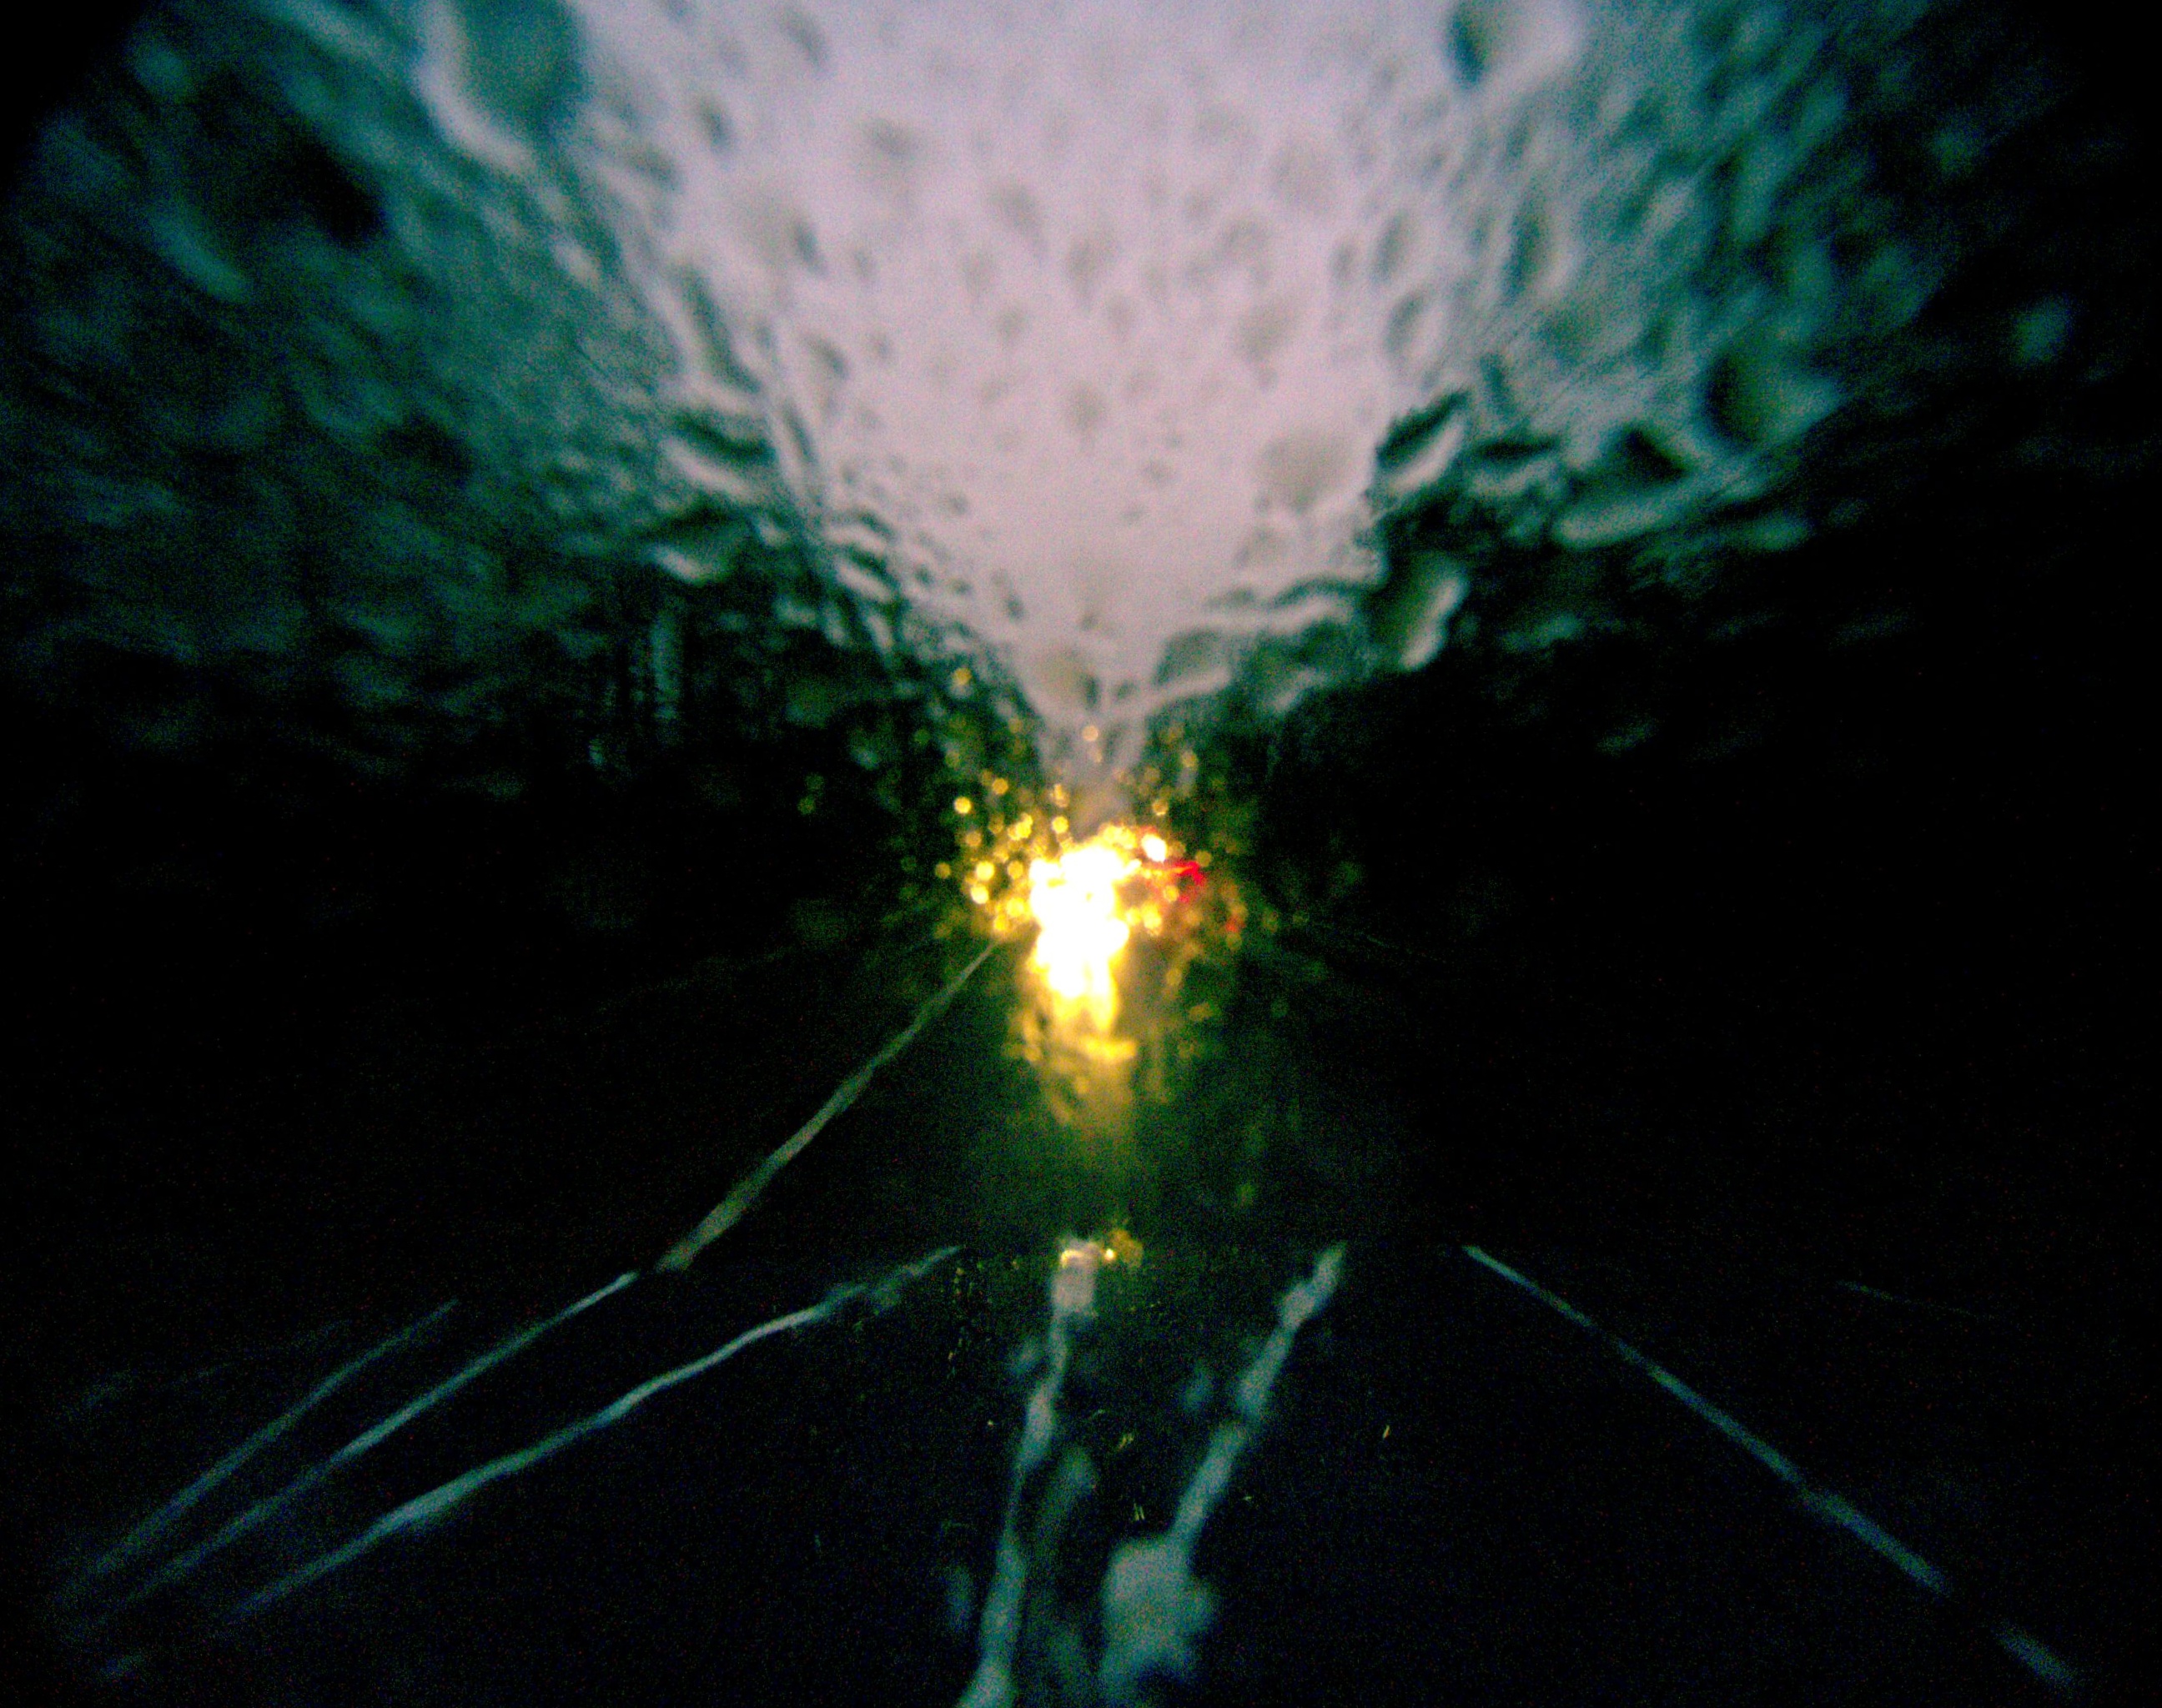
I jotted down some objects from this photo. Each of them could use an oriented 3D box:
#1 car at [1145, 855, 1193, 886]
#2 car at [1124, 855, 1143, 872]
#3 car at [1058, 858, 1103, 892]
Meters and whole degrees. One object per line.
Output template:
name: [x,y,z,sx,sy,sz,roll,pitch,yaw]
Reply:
car: [4.160,0.752,36.416,1.708,1.355,4.375,1,0,-1]
car: [4.693,0.844,67.912,1.517,1.405,3.660,-1,0,1]
car: [0.031,0.883,33.436,1.845,1.390,4.000,0,0,1]
